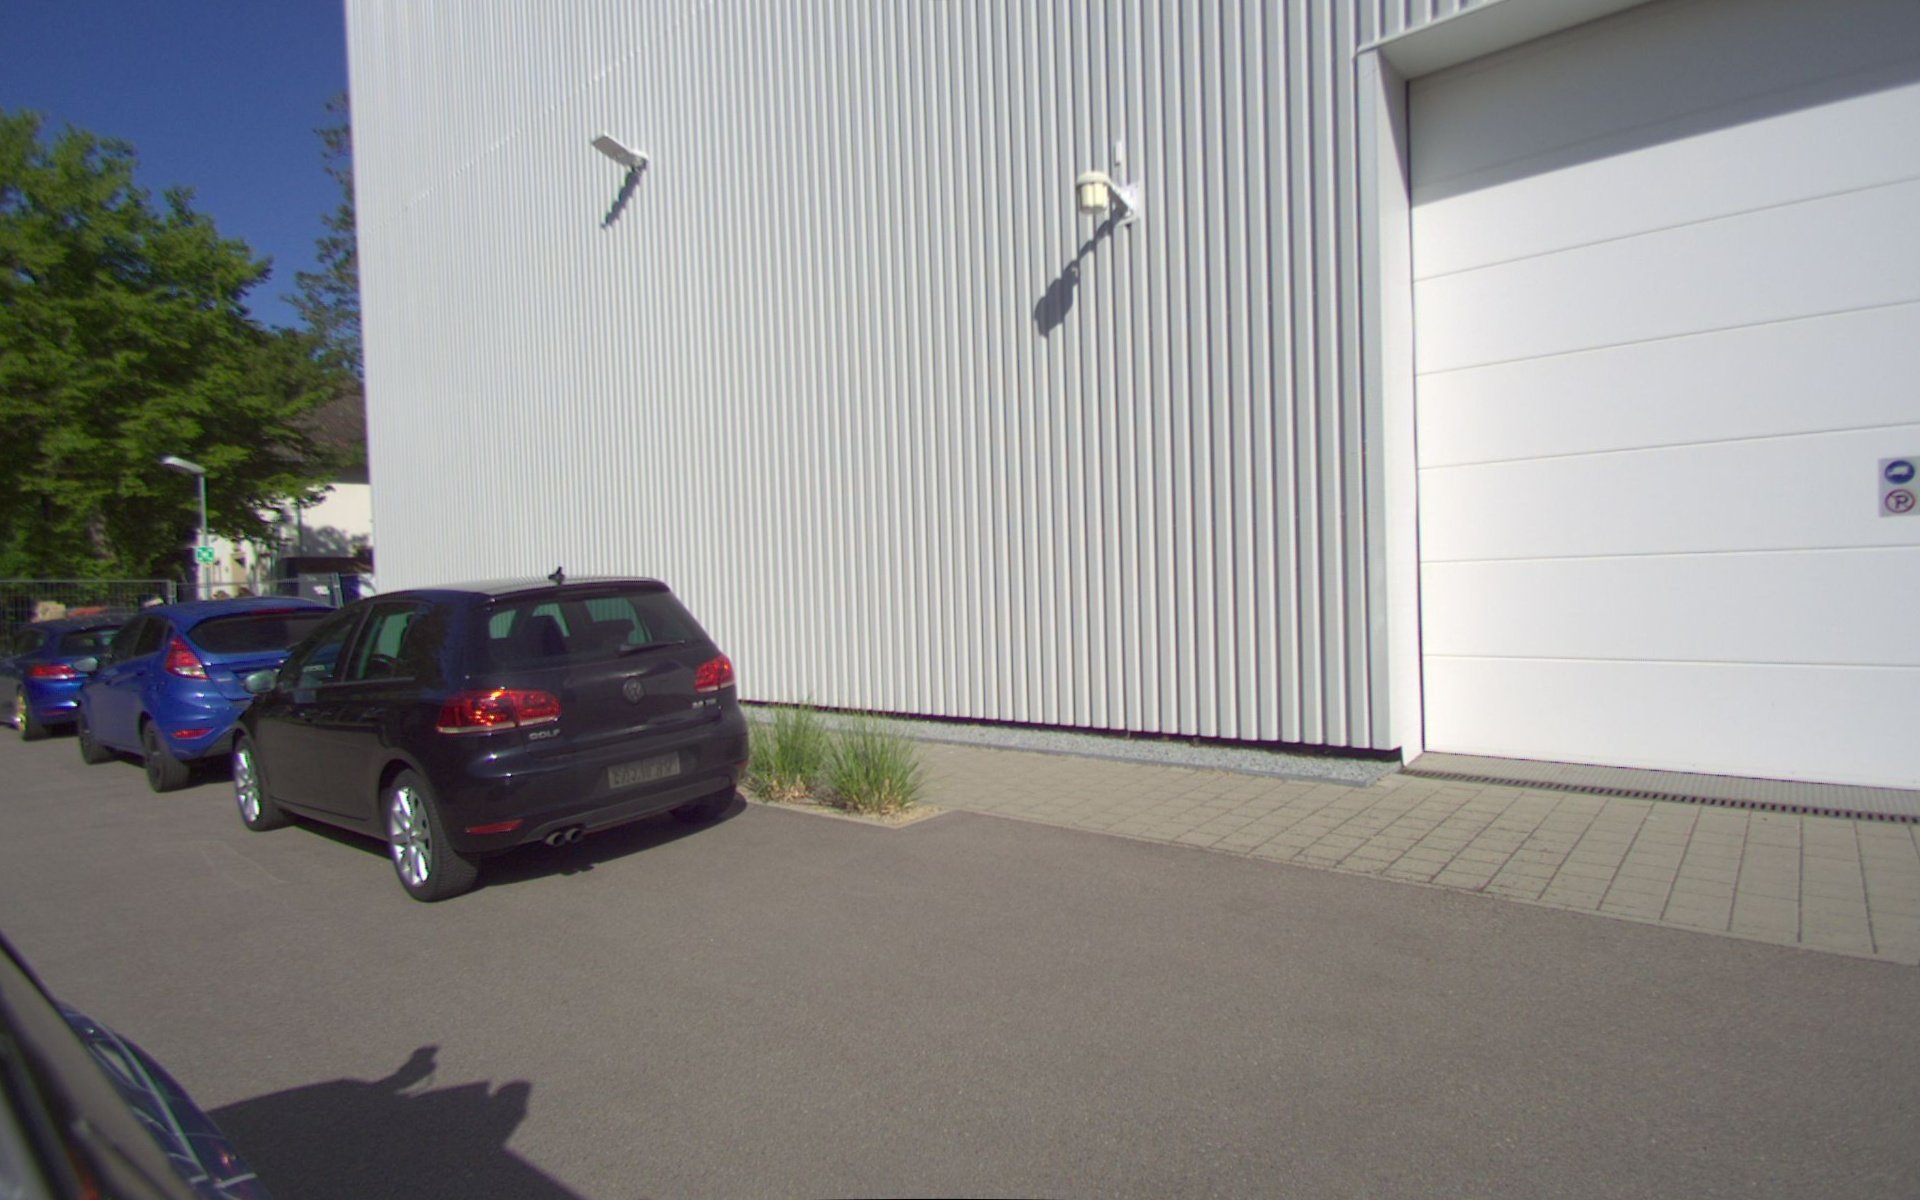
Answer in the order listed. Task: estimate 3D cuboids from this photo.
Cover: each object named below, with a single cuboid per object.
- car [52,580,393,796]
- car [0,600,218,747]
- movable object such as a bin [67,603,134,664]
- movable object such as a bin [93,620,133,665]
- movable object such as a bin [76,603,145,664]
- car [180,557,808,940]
[{"bbox_3d":[-6.688,0.678,9.060,3.518,1.499,1.533,-2,2,39],"label":"car"},{"bbox_3d":[-10.900,0.839,12.604,3.794,1.459,1.695,-2,2,39],"label":"car"},{"bbox_3d":[-22.044,0.855,25.942,1.279,1.489,1.126,-3,-2,41],"label":"movable object such as a bin"},{"bbox_3d":[-20.218,1.017,24.152,0.678,1.031,0.707,-1,-2,-44],"label":"movable object such as a bin"},{"bbox_3d":[-21.021,0.826,25.042,1.288,1.445,1.126,-2,-1,41],"label":"movable object such as a bin"},{"bbox_3d":[-3.039,0.627,6.114,4.312,1.456,1.739,-2,3,41],"label":"car"}]
